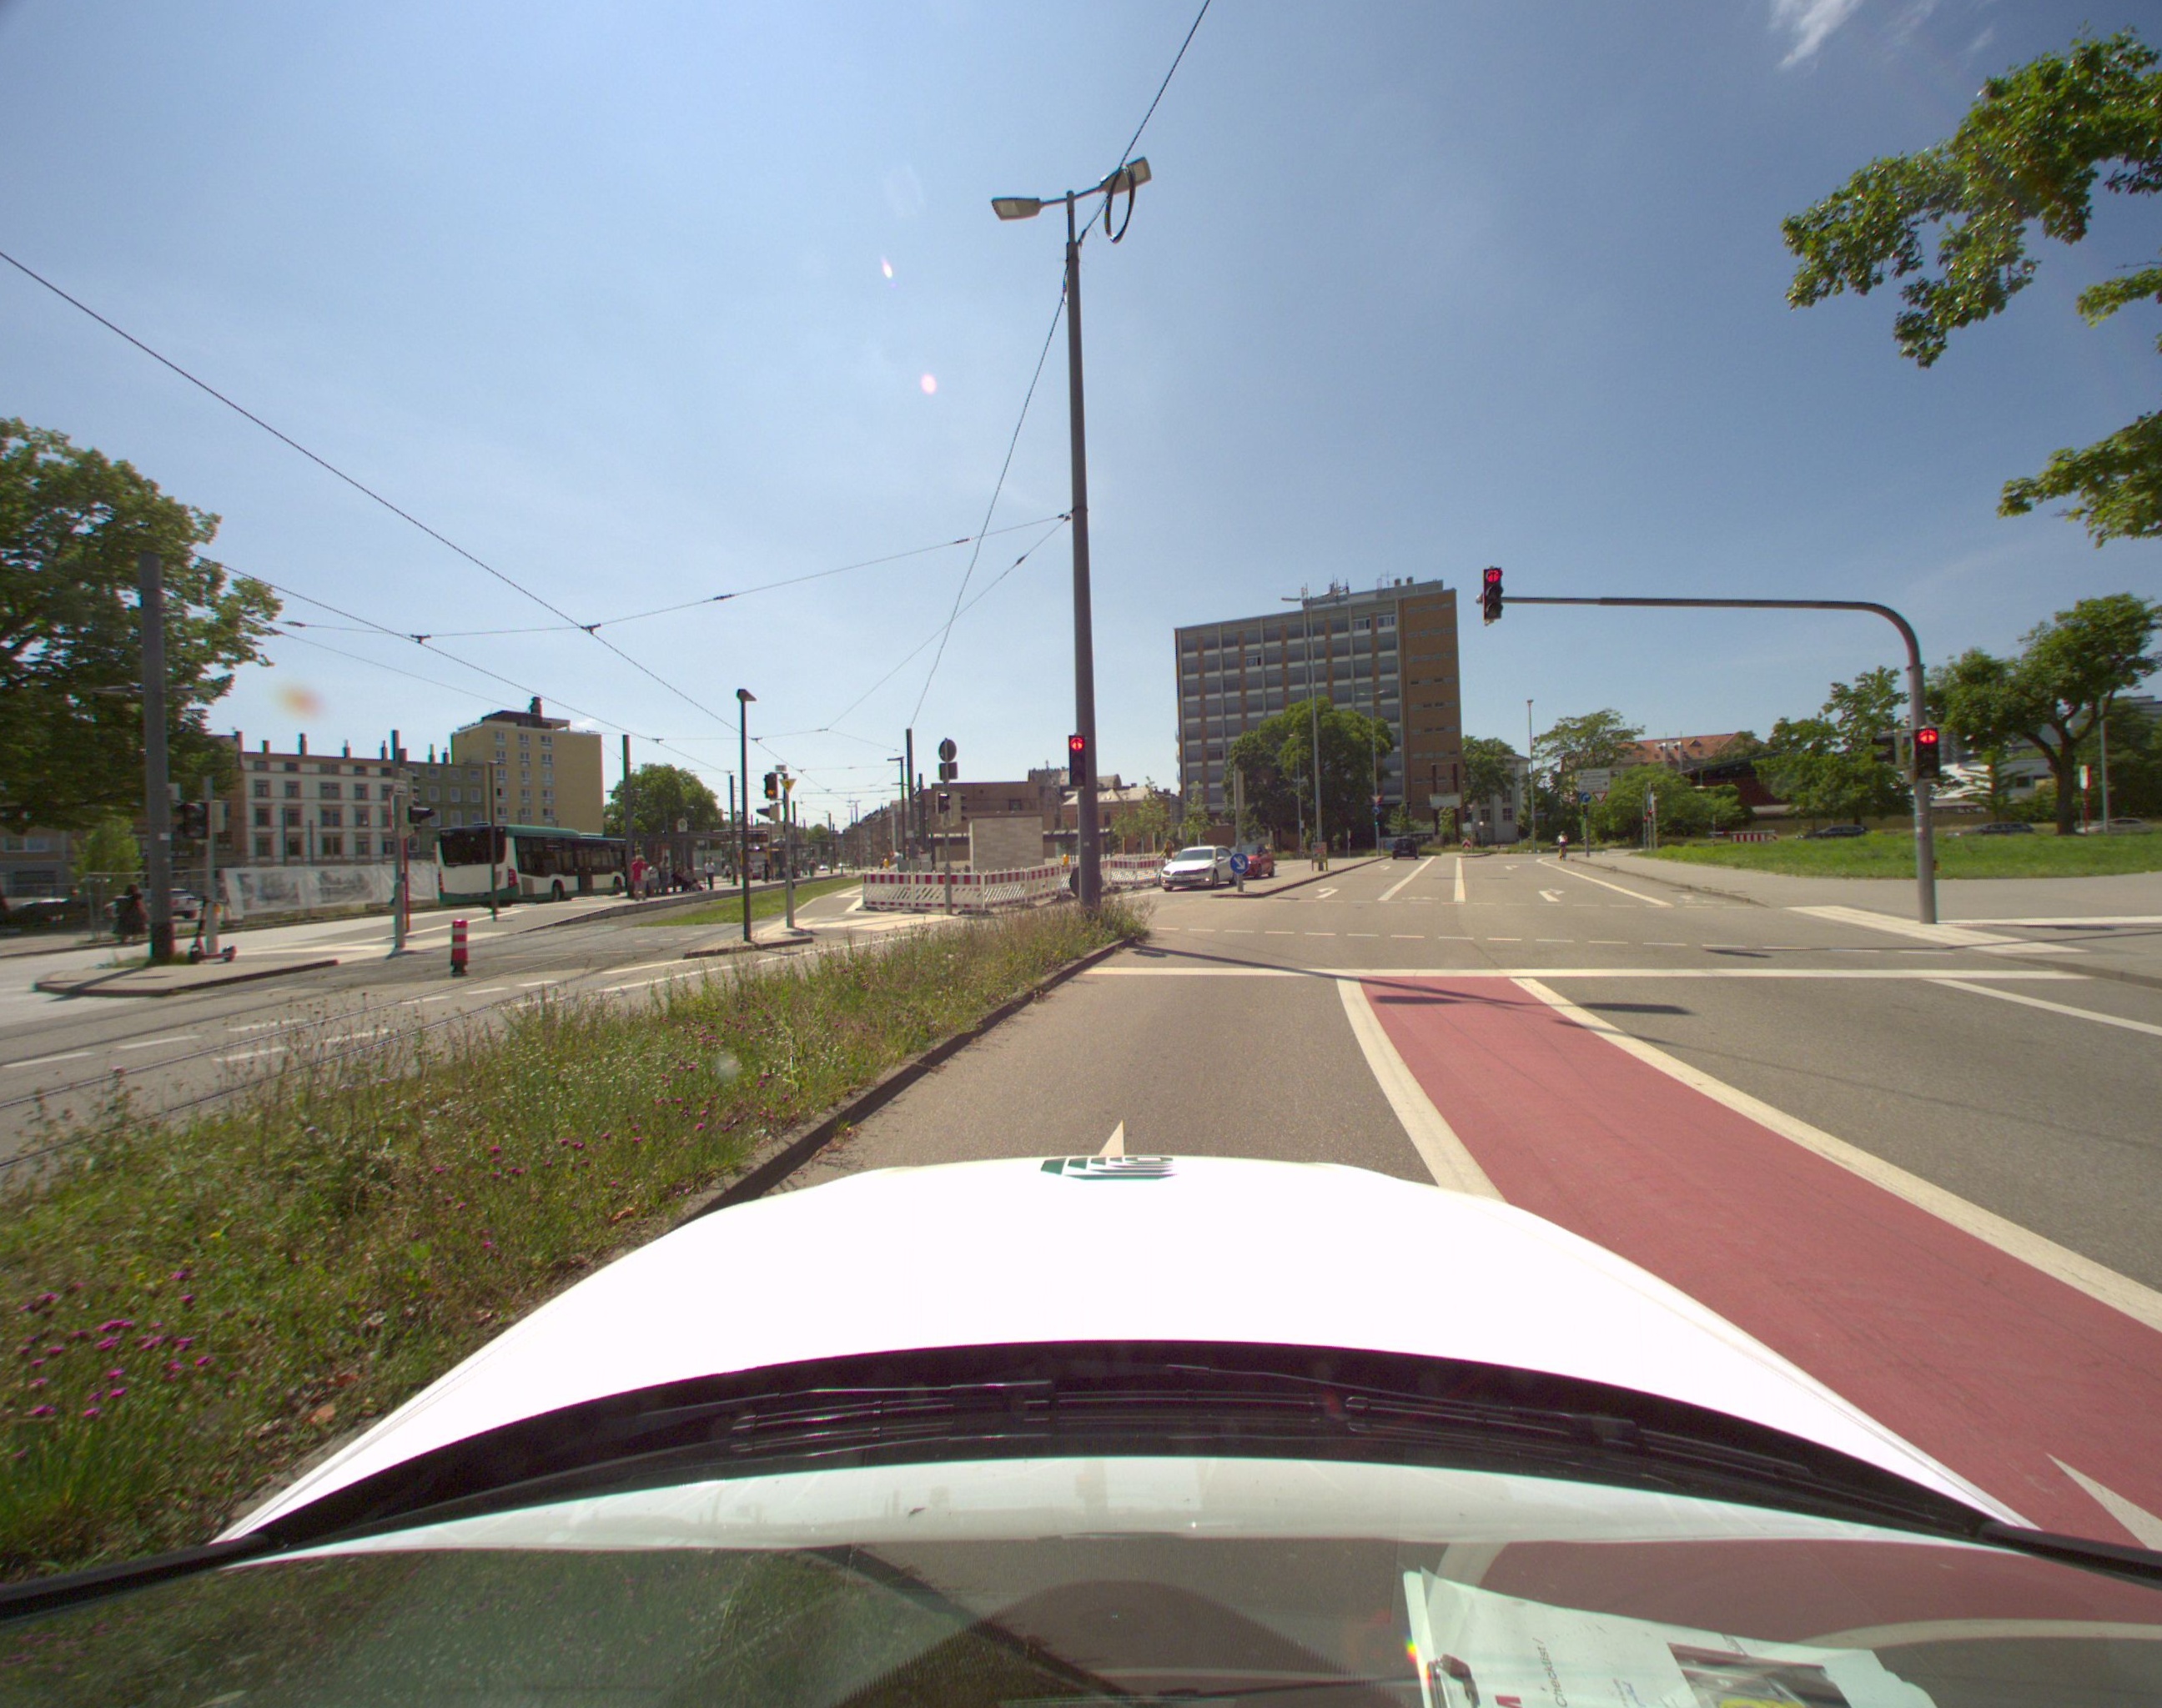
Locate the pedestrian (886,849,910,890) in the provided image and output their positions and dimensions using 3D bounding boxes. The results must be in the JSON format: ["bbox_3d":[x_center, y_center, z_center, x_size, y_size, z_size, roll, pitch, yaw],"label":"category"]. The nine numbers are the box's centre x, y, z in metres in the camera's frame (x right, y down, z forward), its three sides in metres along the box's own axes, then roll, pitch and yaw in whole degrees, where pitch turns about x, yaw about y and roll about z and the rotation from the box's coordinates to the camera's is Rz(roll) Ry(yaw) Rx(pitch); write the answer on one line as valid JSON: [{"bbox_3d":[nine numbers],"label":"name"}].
[{"bbox_3d":[-8.561,0.712,38.144,0.721,1.864,0.772,-3,-2,39],"label":"pedestrian"}]

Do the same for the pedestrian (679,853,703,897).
[{"bbox_3d":[-19.237,1.017,40.200,0.902,2.096,0.826,-2,0,-21],"label":"pedestrian"}]

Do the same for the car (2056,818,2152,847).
[{"bbox_3d":[72.983,-1.498,58.191,3.949,1.871,1.479,-2,-1,27],"label":"car"}]

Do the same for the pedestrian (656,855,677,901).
[{"bbox_3d":[-19.398,1.106,38.111,0.702,2.096,0.640,-2,0,-21],"label":"pedestrian"}]

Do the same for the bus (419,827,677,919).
[{"bbox_3d":[-23.367,0.695,37.856,3.009,3.158,17.443,-2,0,-9],"label":"bus"}]

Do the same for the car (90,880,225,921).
[{"bbox_3d":[-42.943,2.165,37.937,4.166,1.649,1.853,-2,0,2],"label":"car"}]

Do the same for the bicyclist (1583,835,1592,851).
[{"bbox_3d":[49.120,-1.061,78.945,0.677,1.488,0.789,-3,-1,36],"label":"bicyclist"}]

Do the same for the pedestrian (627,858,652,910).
[{"bbox_3d":[-16.574,1.121,30.586,0.675,1.909,0.636,-2,0,-19],"label":"pedestrian"}]

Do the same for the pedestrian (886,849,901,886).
[{"bbox_3d":[-10.103,0.731,43.820,0.720,1.923,1.069,-1,-1,-15],"label":"pedestrian"}]

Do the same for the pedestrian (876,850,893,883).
[{"bbox_3d":[-10.237,0.640,42.439,0.730,1.707,0.737,-1,-1,-24],"label":"pedestrian"}]

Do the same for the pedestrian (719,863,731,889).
[{"bbox_3d":[-28.736,1.782,65.749,0.710,2.111,0.650,-2,0,-34],"label":"pedestrian"}]

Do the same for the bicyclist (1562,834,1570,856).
[{"bbox_3d":[27.925,-0.504,46.900,0.348,1.227,0.567,-2,0,31],"label":"bicyclist"}]

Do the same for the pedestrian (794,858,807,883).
[{"bbox_3d":[-24.060,1.398,69.961,0.829,2.096,0.899,-2,0,-11],"label":"pedestrian"}]

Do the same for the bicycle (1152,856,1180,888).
[{"bbox_3d":[3.272,0.679,31.188,0.394,1.174,1.781,-2,0,28],"label":"bicycle"}]

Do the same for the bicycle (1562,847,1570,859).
[{"bbox_3d":[27.950,-0.084,46.901,0.373,0.646,1.655,-2,0,31],"label":"bicycle"}]

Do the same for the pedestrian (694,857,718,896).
[{"bbox_3d":[-20.932,1.255,45.519,0.898,2.096,0.830,-2,0,-5],"label":"pedestrian"}]

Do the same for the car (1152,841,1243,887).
[{"bbox_3d":[4.237,0.333,28.957,1.976,1.438,4.731,-2,-1,23],"label":"car"}]

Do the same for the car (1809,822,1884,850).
[{"bbox_3d":[60.067,-1.412,63.957,3.949,2.014,1.479,-2,-1,27],"label":"car"}]

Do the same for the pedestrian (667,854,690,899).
[{"bbox_3d":[-19.393,1.079,39.237,0.827,2.096,0.637,-2,0,-21],"label":"pedestrian"}]

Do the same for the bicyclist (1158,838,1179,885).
[{"bbox_3d":[3.361,0.282,31.306,0.562,1.718,0.510,5,4,28],"label":"bicyclist"}]

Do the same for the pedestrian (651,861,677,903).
[{"bbox_3d":[-18.796,1.252,36.734,0.915,1.851,0.653,-2,0,-20],"label":"pedestrian"}]

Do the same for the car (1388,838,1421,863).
[{"bbox_3d":[22.145,-0.256,55.919,1.676,1.527,3.705,-3,0,16],"label":"car"}]

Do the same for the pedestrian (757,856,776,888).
[{"bbox_3d":[-21.075,1.194,54.649,0.898,2.096,0.830,-2,0,-5],"label":"pedestrian"}]

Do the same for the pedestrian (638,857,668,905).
[{"bbox_3d":[-18.507,1.152,35.249,0.944,1.990,1.022,-2,0,-19],"label":"pedestrian"}]

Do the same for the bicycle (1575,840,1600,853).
[{"bbox_3d":[49.106,-0.725,78.977,1.987,1.135,0.578,-3,-1,37],"label":"bicycle"}]

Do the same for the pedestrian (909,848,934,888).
[{"bbox_3d":[-7.670,0.675,39.227,0.981,1.832,0.628,-2,0,-24],"label":"pedestrian"}]

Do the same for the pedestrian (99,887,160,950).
[{"bbox_3d":[-25.560,1.708,21.884,0.604,1.602,0.826,-2,0,0],"label":"pedestrian"}]

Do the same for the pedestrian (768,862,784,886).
[{"bbox_3d":[-24.363,1.584,65.021,0.978,1.834,0.769,-2,0,-34],"label":"pedestrian"}]

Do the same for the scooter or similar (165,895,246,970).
[{"bbox_3d":[-15.537,1.366,14.486,0.319,1.206,1.242,-2,0,-14],"label":"scooter or similar"}]

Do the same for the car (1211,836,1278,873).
[{"bbox_3d":[7.092,-0.003,34.954,1.715,1.425,4.148,-3,-1,27],"label":"car"}]
